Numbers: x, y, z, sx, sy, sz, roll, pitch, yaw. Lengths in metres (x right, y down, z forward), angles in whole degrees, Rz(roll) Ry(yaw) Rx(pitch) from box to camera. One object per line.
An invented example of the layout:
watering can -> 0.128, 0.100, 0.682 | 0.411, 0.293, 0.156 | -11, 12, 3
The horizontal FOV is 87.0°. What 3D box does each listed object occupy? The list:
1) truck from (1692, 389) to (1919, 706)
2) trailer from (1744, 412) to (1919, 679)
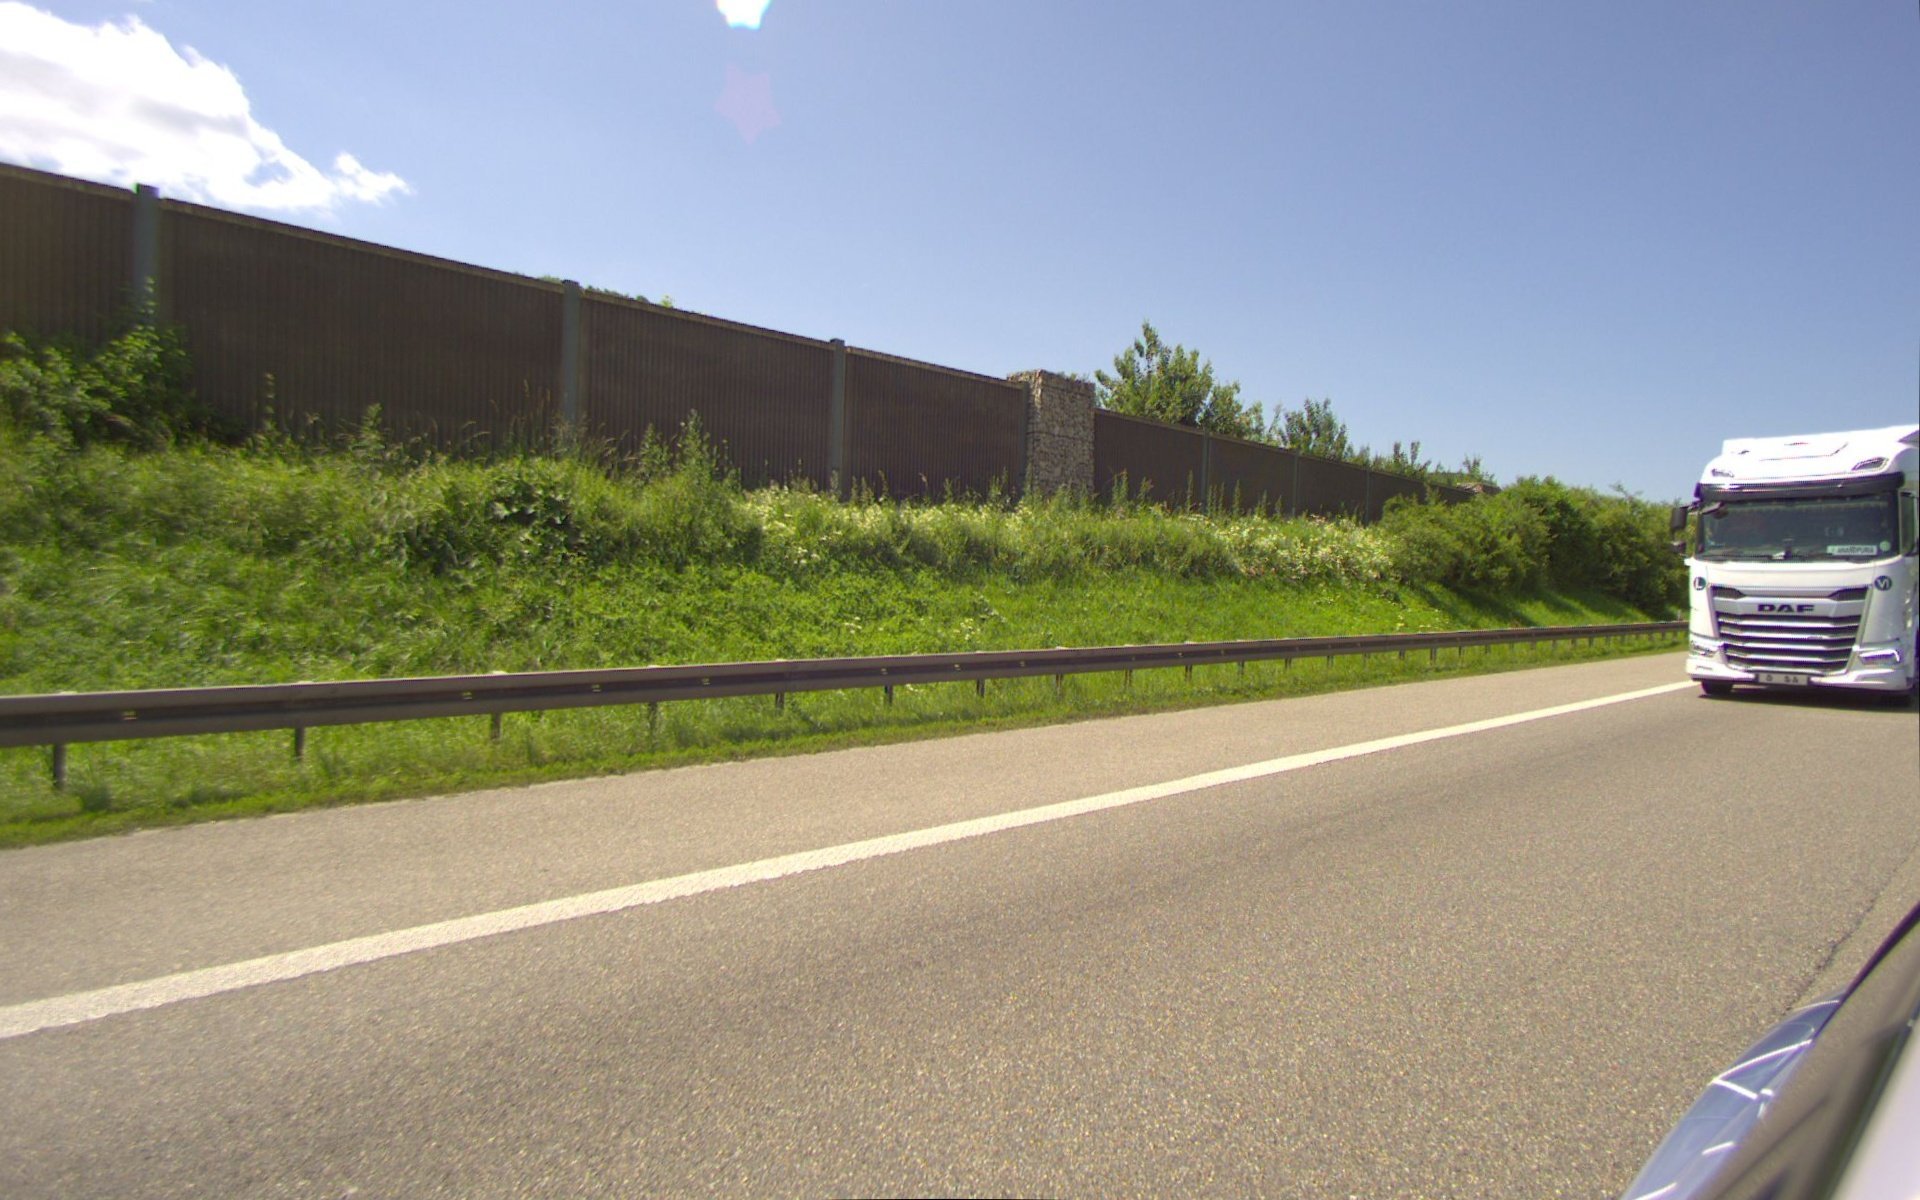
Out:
truck -> 13.748, -0.700, 15.830 | 6.272, 4.027, 2.481 | 0, 1, -42
trailer -> 18.833, -0.867, 20.422 | 13.422, 4.027, 2.481 | 0, 1, -42
